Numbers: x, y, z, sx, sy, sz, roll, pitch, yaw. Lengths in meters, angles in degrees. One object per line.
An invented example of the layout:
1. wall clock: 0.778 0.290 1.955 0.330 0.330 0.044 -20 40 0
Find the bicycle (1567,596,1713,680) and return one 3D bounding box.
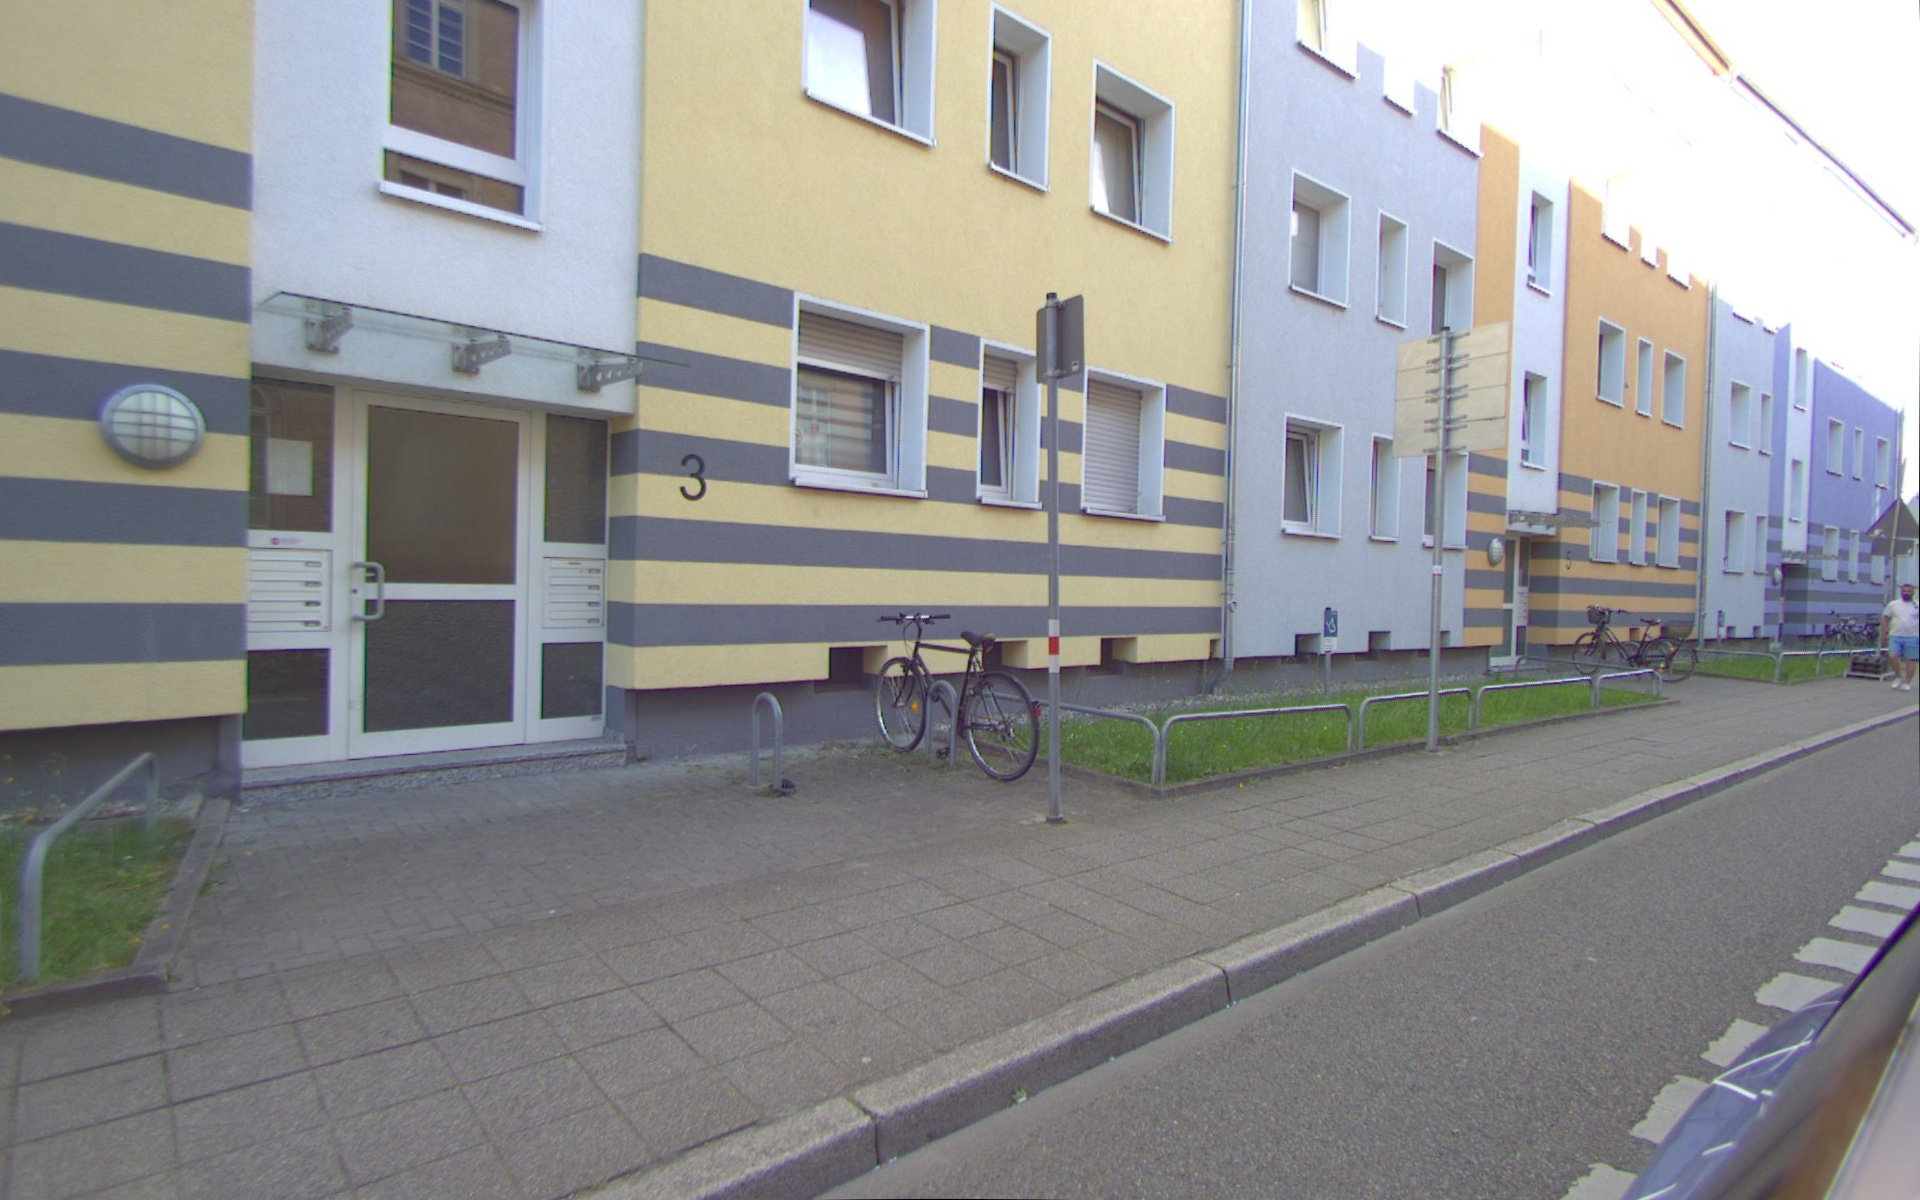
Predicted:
1. bicycle: 10.690 0.569 15.956 0.574 1.138 1.775 0 4 -42

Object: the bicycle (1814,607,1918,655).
1. bicycle: 22.188 0.737 24.814 0.572 1.007 1.779 1 3 -33

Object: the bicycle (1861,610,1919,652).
1. bicycle: 24.054 0.797 25.592 0.572 0.950 1.779 1 3 -33

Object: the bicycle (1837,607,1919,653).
1. bicycle: 23.351 0.741 25.484 0.572 1.007 1.779 1 3 -33

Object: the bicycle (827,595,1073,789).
1. bicycle: -0.123 0.554 6.933 1.773 1.061 0.574 5 4 45

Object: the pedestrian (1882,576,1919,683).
1. pedestrian: 15.541 0.476 16.446 0.819 1.692 0.644 1 2 -39
